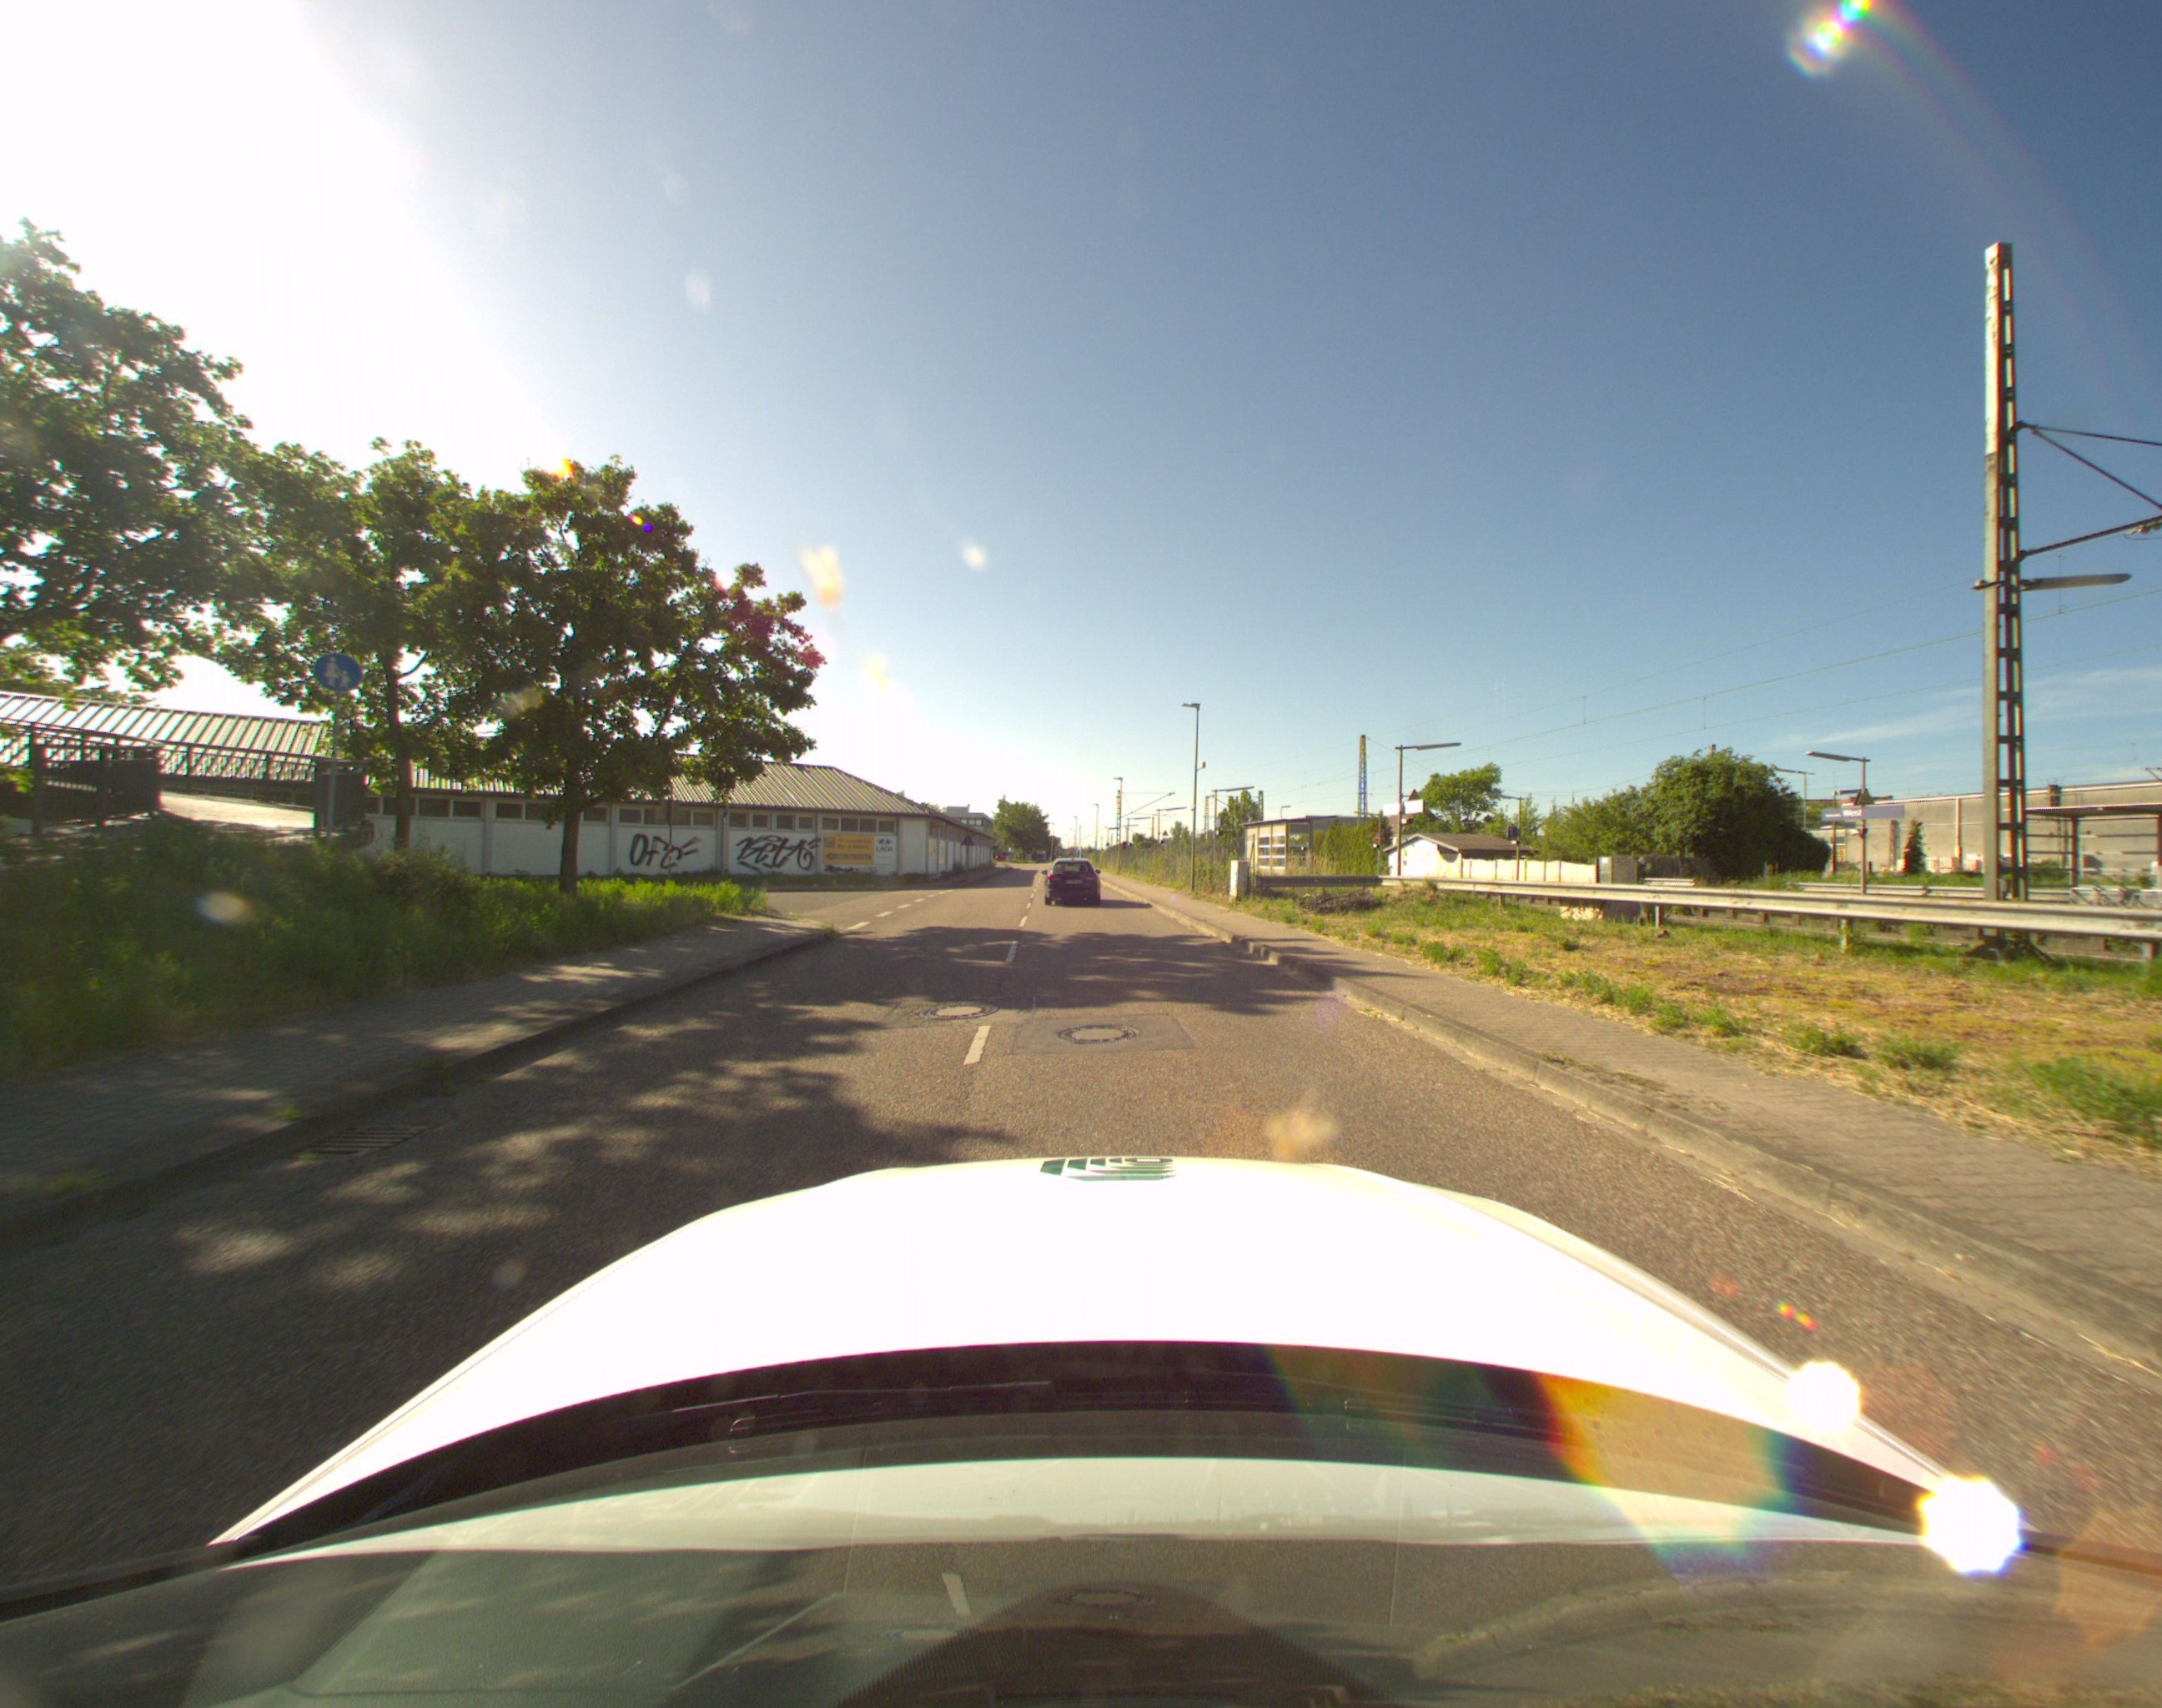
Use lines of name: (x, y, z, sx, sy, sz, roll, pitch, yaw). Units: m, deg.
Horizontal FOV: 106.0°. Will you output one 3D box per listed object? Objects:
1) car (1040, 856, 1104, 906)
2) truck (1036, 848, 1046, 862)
car: (-0.368, 0.832, 26.796, 1.938, 1.489, 4.560, 0, 0, -3)
truck: (-11.647, 0.393, 235.538, 2.608, 3.885, 13.511, 2, 0, -4)
